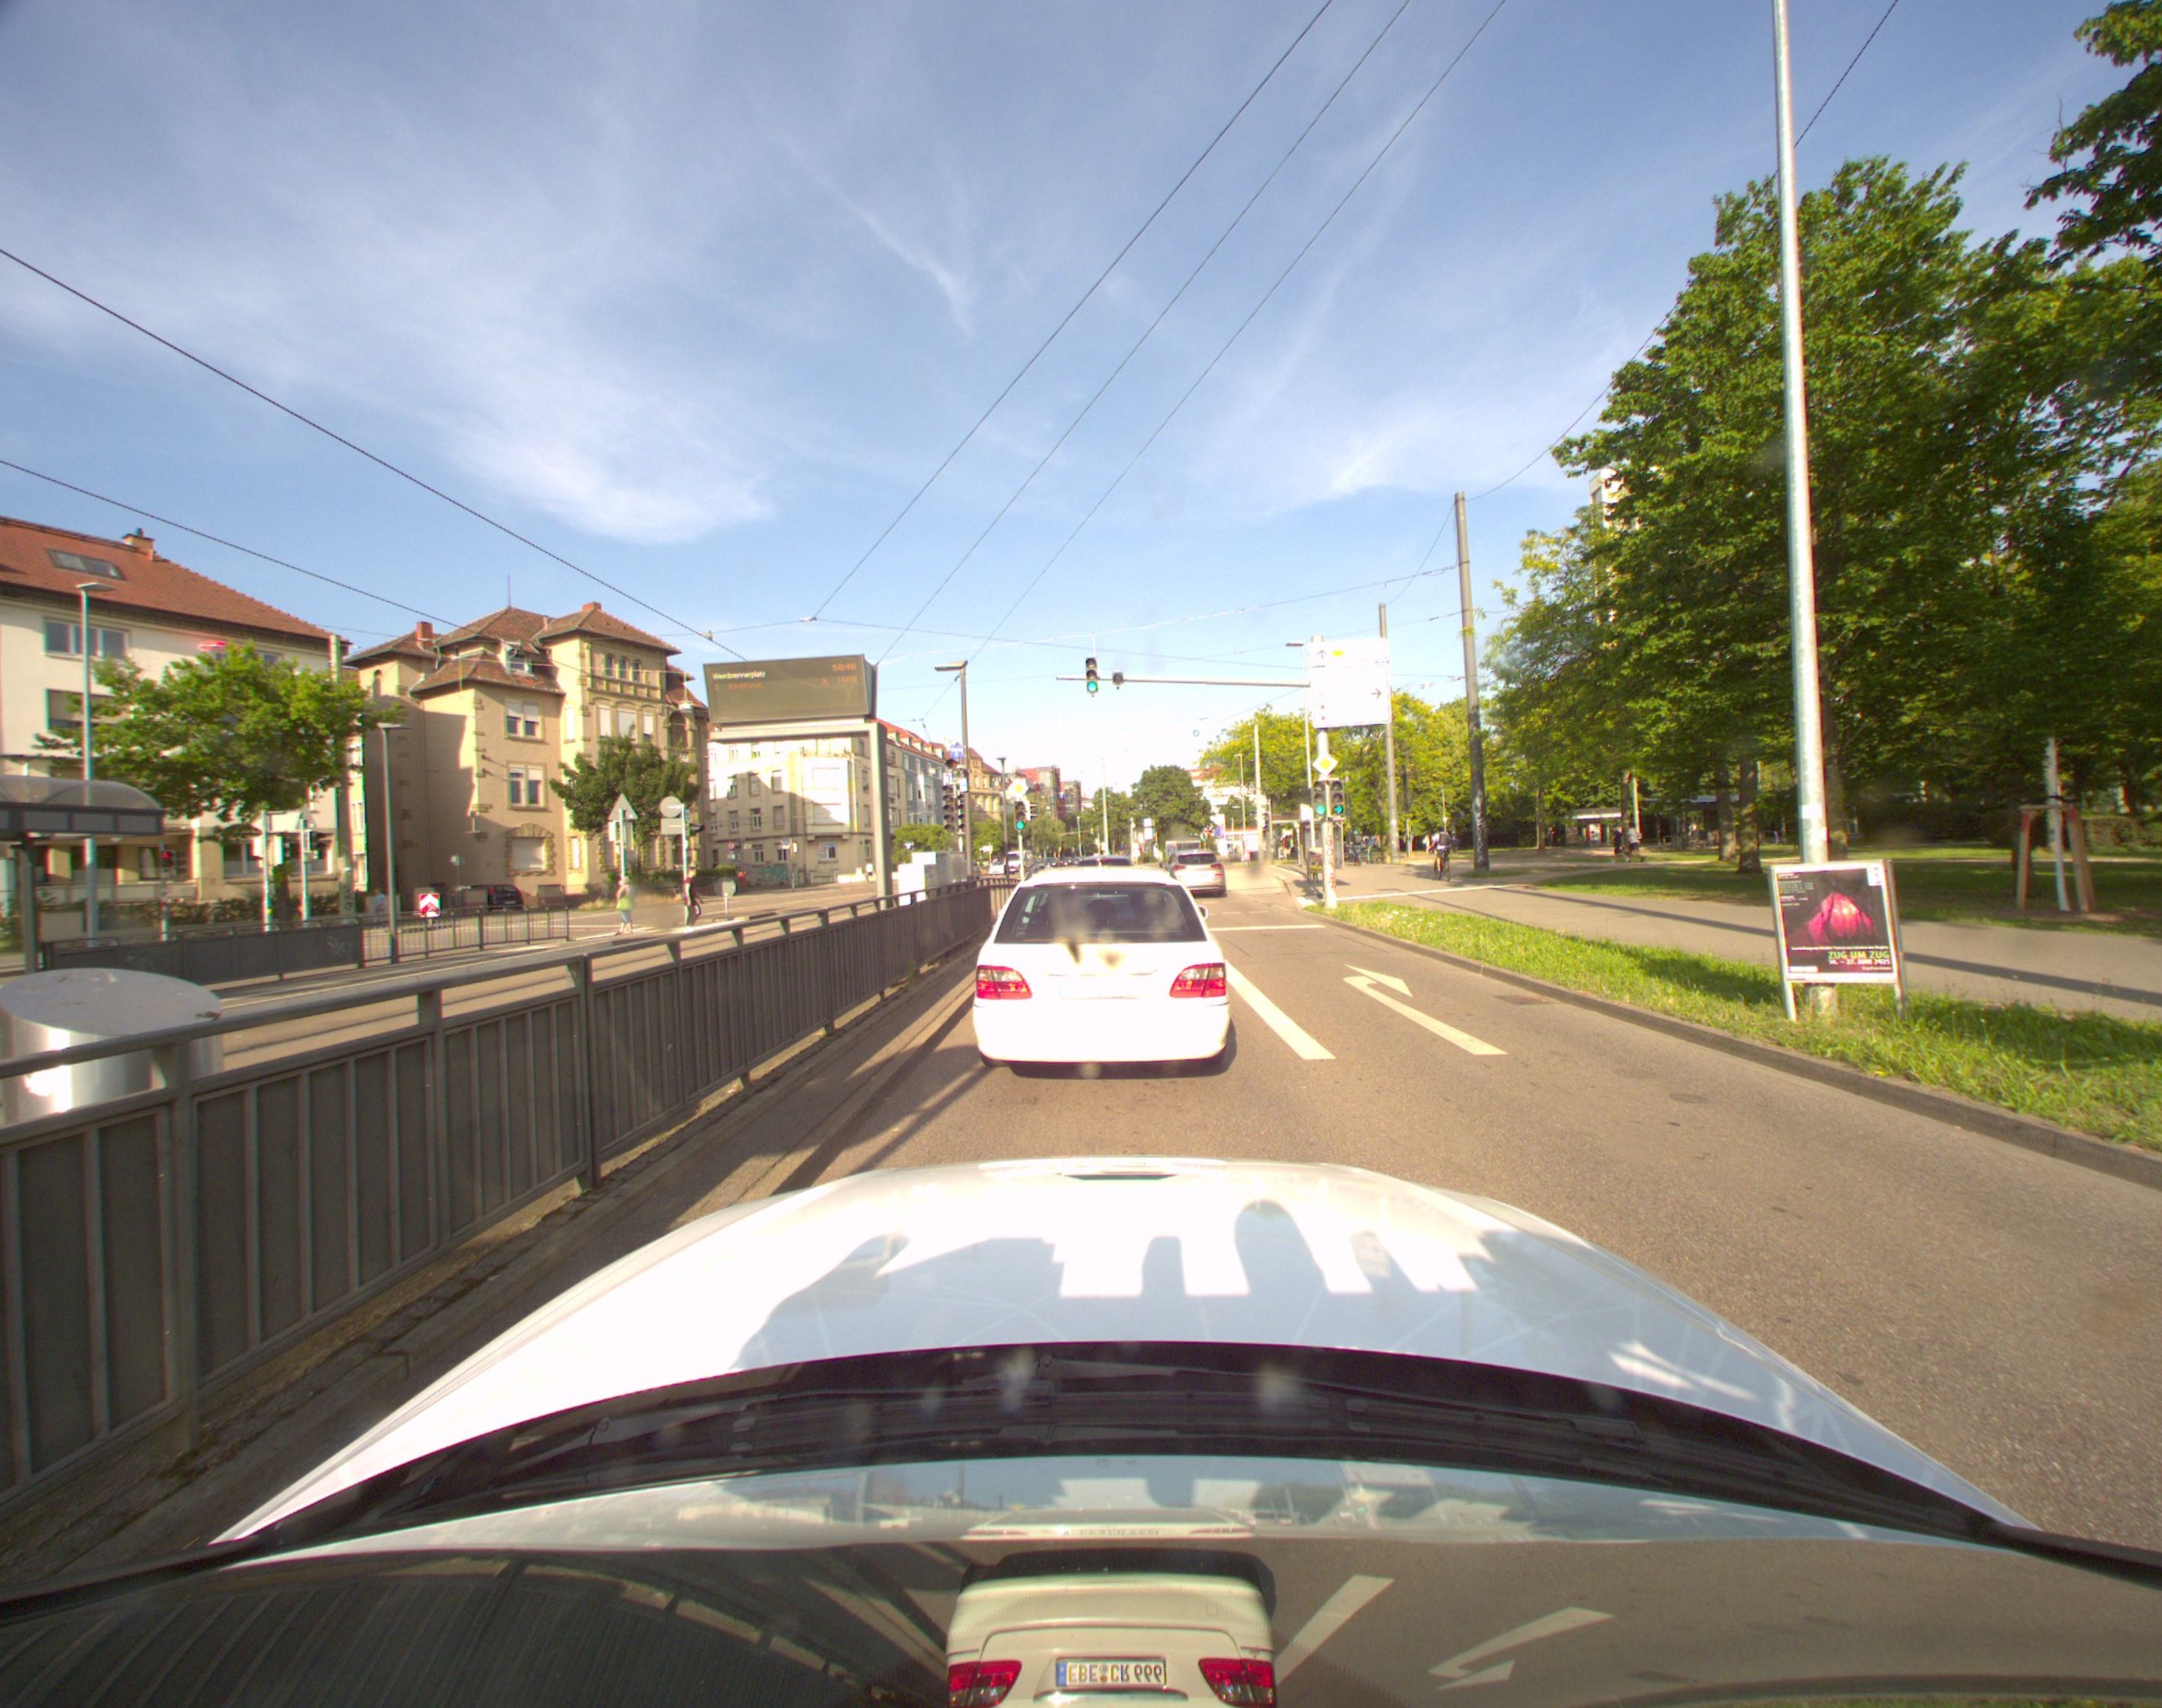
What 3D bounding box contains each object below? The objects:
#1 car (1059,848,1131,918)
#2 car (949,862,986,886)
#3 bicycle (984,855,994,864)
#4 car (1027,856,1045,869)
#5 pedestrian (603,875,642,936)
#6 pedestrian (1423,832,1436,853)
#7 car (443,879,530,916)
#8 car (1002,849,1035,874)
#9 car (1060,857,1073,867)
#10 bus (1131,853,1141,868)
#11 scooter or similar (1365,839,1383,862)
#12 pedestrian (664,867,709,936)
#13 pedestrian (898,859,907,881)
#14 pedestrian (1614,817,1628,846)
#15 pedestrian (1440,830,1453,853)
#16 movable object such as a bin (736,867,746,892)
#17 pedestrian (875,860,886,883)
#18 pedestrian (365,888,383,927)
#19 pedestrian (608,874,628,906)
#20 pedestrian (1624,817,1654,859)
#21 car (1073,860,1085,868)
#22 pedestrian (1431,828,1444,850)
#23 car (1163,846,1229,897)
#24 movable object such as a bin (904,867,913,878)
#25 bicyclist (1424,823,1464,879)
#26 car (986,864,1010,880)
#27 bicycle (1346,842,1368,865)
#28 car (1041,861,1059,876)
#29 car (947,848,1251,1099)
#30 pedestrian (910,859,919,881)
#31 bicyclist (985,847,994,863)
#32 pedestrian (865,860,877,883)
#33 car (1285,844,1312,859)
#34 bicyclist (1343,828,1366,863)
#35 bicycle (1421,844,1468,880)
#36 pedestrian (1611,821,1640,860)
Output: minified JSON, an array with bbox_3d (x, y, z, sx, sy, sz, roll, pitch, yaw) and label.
[{"bbox_3d":[0.396,0.678,20.731,1.635,1.600,3.817,-1,0,2],"label":"car"},{"bbox_3d":[-8.628,1.478,61.971,1.667,1.526,4.133,-3,1,7],"label":"car"},{"bbox_3d":[-10.123,0.609,89.582,0.765,0.965,2.036,-3,0,3],"label":"bicycle"},{"bbox_3d":[-5.683,1.053,104.156,1.759,1.433,4.004,-3,0,4],"label":"car"},{"bbox_3d":[-12.525,1.393,22.262,0.588,1.589,0.715,-3,0,-2],"label":"pedestrian"},{"bbox_3d":[27.245,-0.930,63.731,0.638,1.610,0.691,-3,0,1],"label":"pedestrian"},{"bbox_3d":[-29.335,2.140,40.185,3.950,1.632,1.787,-3,0,26],"label":"car"},{"bbox_3d":[-5.979,0.705,78.454,2.167,2.239,5.260,-3,0,5],"label":"car"},{"bbox_3d":[-2.308,1.271,130.575,1.681,1.441,4.007,-3,0,6],"label":"car"},{"bbox_3d":[9.906,1.188,145.700,1.790,2.555,4.004,0,-1,4],"label":"bus"},{"bbox_3d":[16.143,-0.160,44.853,0.351,1.232,1.131,-3,0,-12],"label":"scooter or similar"},{"bbox_3d":[-9.988,1.183,20.648,0.883,1.670,0.668,-3,0,-18],"label":"pedestrian"},{"bbox_3d":[-15.823,1.397,72.115,0.582,1.881,0.626,-3,0,0],"label":"pedestrian"},{"bbox_3d":[35.050,-1.471,52.844,0.463,1.868,0.600,0,-1,-29],"label":"pedestrian"},{"bbox_3d":[27.711,-0.958,61.697,0.638,1.665,0.691,-3,0,1],"label":"pedestrian"},{"bbox_3d":[-23.552,1.747,56.390,0.265,1.709,2.360,-3,0,-29],"label":"movable object such as a bin"},{"bbox_3d":[-16.982,1.493,68.879,0.672,1.848,0.649,-3,0,-1],"label":"pedestrian"},{"bbox_3d":[-28.768,2.177,33.151,0.400,1.516,0.392,-3,-1,28],"label":"pedestrian"},{"bbox_3d":[-24.296,1.877,42.715,0.672,1.651,0.608,-3,-1,28],"label":"pedestrian"},{"bbox_3d":[25.760,-0.725,37.593,0.673,1.897,0.874,0,-1,-19],"label":"pedestrian"},{"bbox_3d":[-0.319,1.742,142.677,1.680,1.420,4.006,-3,-1,6],"label":"car"},{"bbox_3d":[27.487,-1.135,62.879,0.638,1.665,0.691,-3,0,1],"label":"pedestrian"},{"bbox_3d":[3.870,0.570,28.029,1.828,1.600,3.817,-1,0,2],"label":"car"},{"bbox_3d":[-15.455,1.667,72.908,0.580,0.947,0.664,-3,0,5],"label":"movable object such as a bin"},{"bbox_3d":[11.958,-0.081,26.853,0.647,1.745,1.140,-6,-1,1],"label":"bicyclist"},{"bbox_3d":[-8.490,1.829,83.393,1.786,1.457,4.004,-3,0,3],"label":"car"},{"bbox_3d":[14.360,-0.030,42.435,0.637,1.088,1.736,-5,0,6],"label":"bicycle"},{"bbox_3d":[-3.755,1.739,98.132,1.760,1.494,4.746,-3,1,2],"label":"car"},{"bbox_3d":[0.170,0.736,6.893,1.828,1.501,3.817,-1,0,2],"label":"car"},{"bbox_3d":[-14.807,1.435,72.494,0.582,1.881,0.626,-3,0,-1],"label":"pedestrian"},{"bbox_3d":[-10.107,0.109,90.020,0.757,1.668,1.168,-3,0,3],"label":"bicyclist"},{"bbox_3d":[-17.755,1.461,68.940,0.653,1.881,0.629,-3,0,16],"label":"pedestrian"},{"bbox_3d":[25.047,-0.317,93.542,1.835,1.515,4.026,-4,-1,32],"label":"car"},{"bbox_3d":[14.205,-0.431,42.281,0.716,1.745,1.142,-6,-1,5],"label":"bicyclist"},{"bbox_3d":[11.989,0.249,26.897,0.638,1.088,1.940,-5,0,1],"label":"bicycle"},{"bbox_3d":[24.941,-0.626,37.331,0.673,1.777,0.875,0,0,-18],"label":"pedestrian"}]
